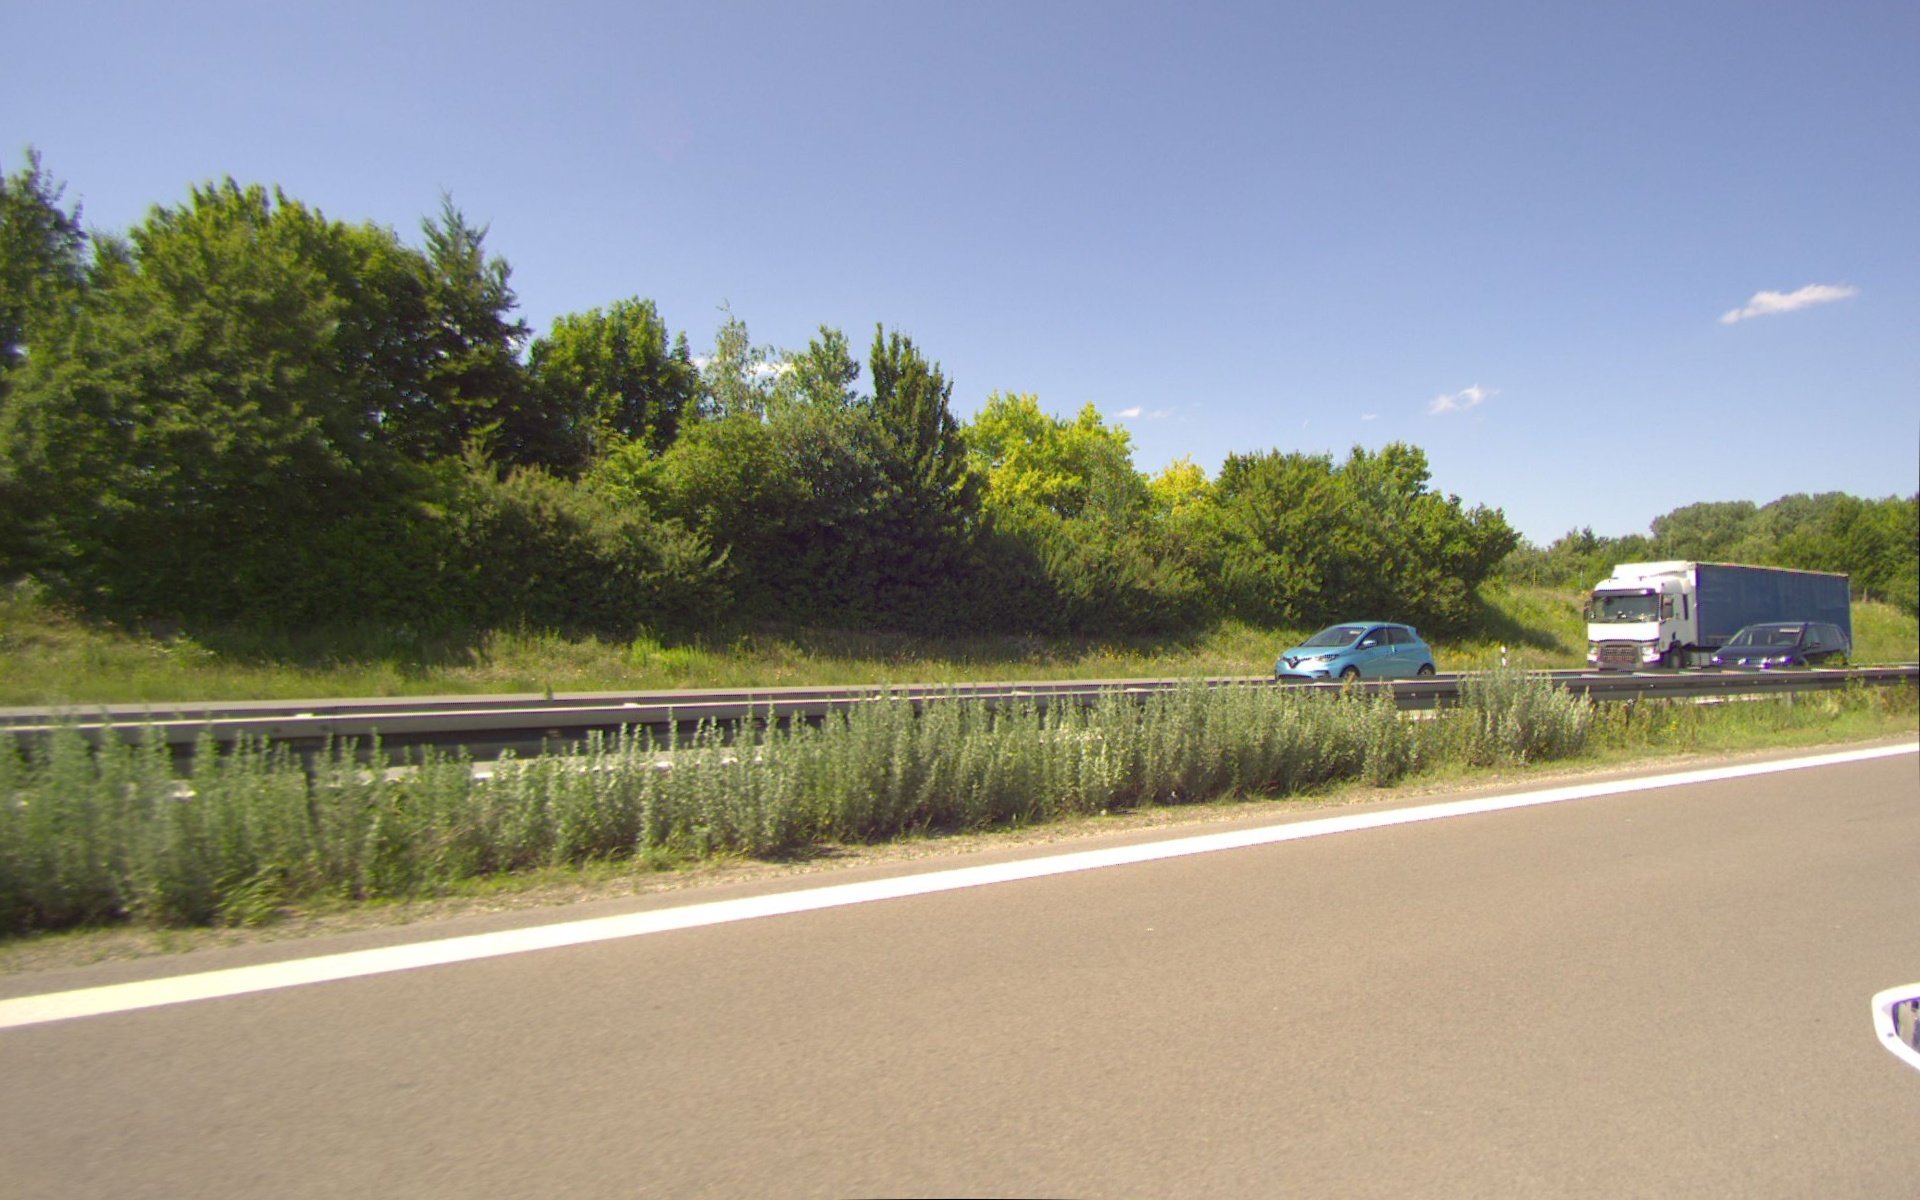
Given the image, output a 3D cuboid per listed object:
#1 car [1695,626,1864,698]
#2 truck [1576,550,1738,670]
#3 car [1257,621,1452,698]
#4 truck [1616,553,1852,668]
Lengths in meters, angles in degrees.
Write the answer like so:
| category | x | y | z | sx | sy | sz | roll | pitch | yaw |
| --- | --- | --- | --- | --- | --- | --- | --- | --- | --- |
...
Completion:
| category | x | y | z | sx | sy | sz | roll | pitch | yaw |
| --- | --- | --- | --- | --- | --- | --- | --- | --- | --- |
| car | 20.499 | 1.491 | 25.090 | 4.667 | 1.621 | 1.849 | 1 | -1 | -31 |
| truck | 25.928 | 0.464 | 37.325 | 6.006 | 4.132 | 2.660 | 1 | -3 | -31 |
| car | 8.718 | 1.264 | 22.097 | 4.301 | 1.530 | 1.785 | 1 | -1 | -31 |
| truck | 31.726 | 0.587 | 40.814 | 13.798 | 4.132 | 2.659 | 1 | -3 | -31 |
